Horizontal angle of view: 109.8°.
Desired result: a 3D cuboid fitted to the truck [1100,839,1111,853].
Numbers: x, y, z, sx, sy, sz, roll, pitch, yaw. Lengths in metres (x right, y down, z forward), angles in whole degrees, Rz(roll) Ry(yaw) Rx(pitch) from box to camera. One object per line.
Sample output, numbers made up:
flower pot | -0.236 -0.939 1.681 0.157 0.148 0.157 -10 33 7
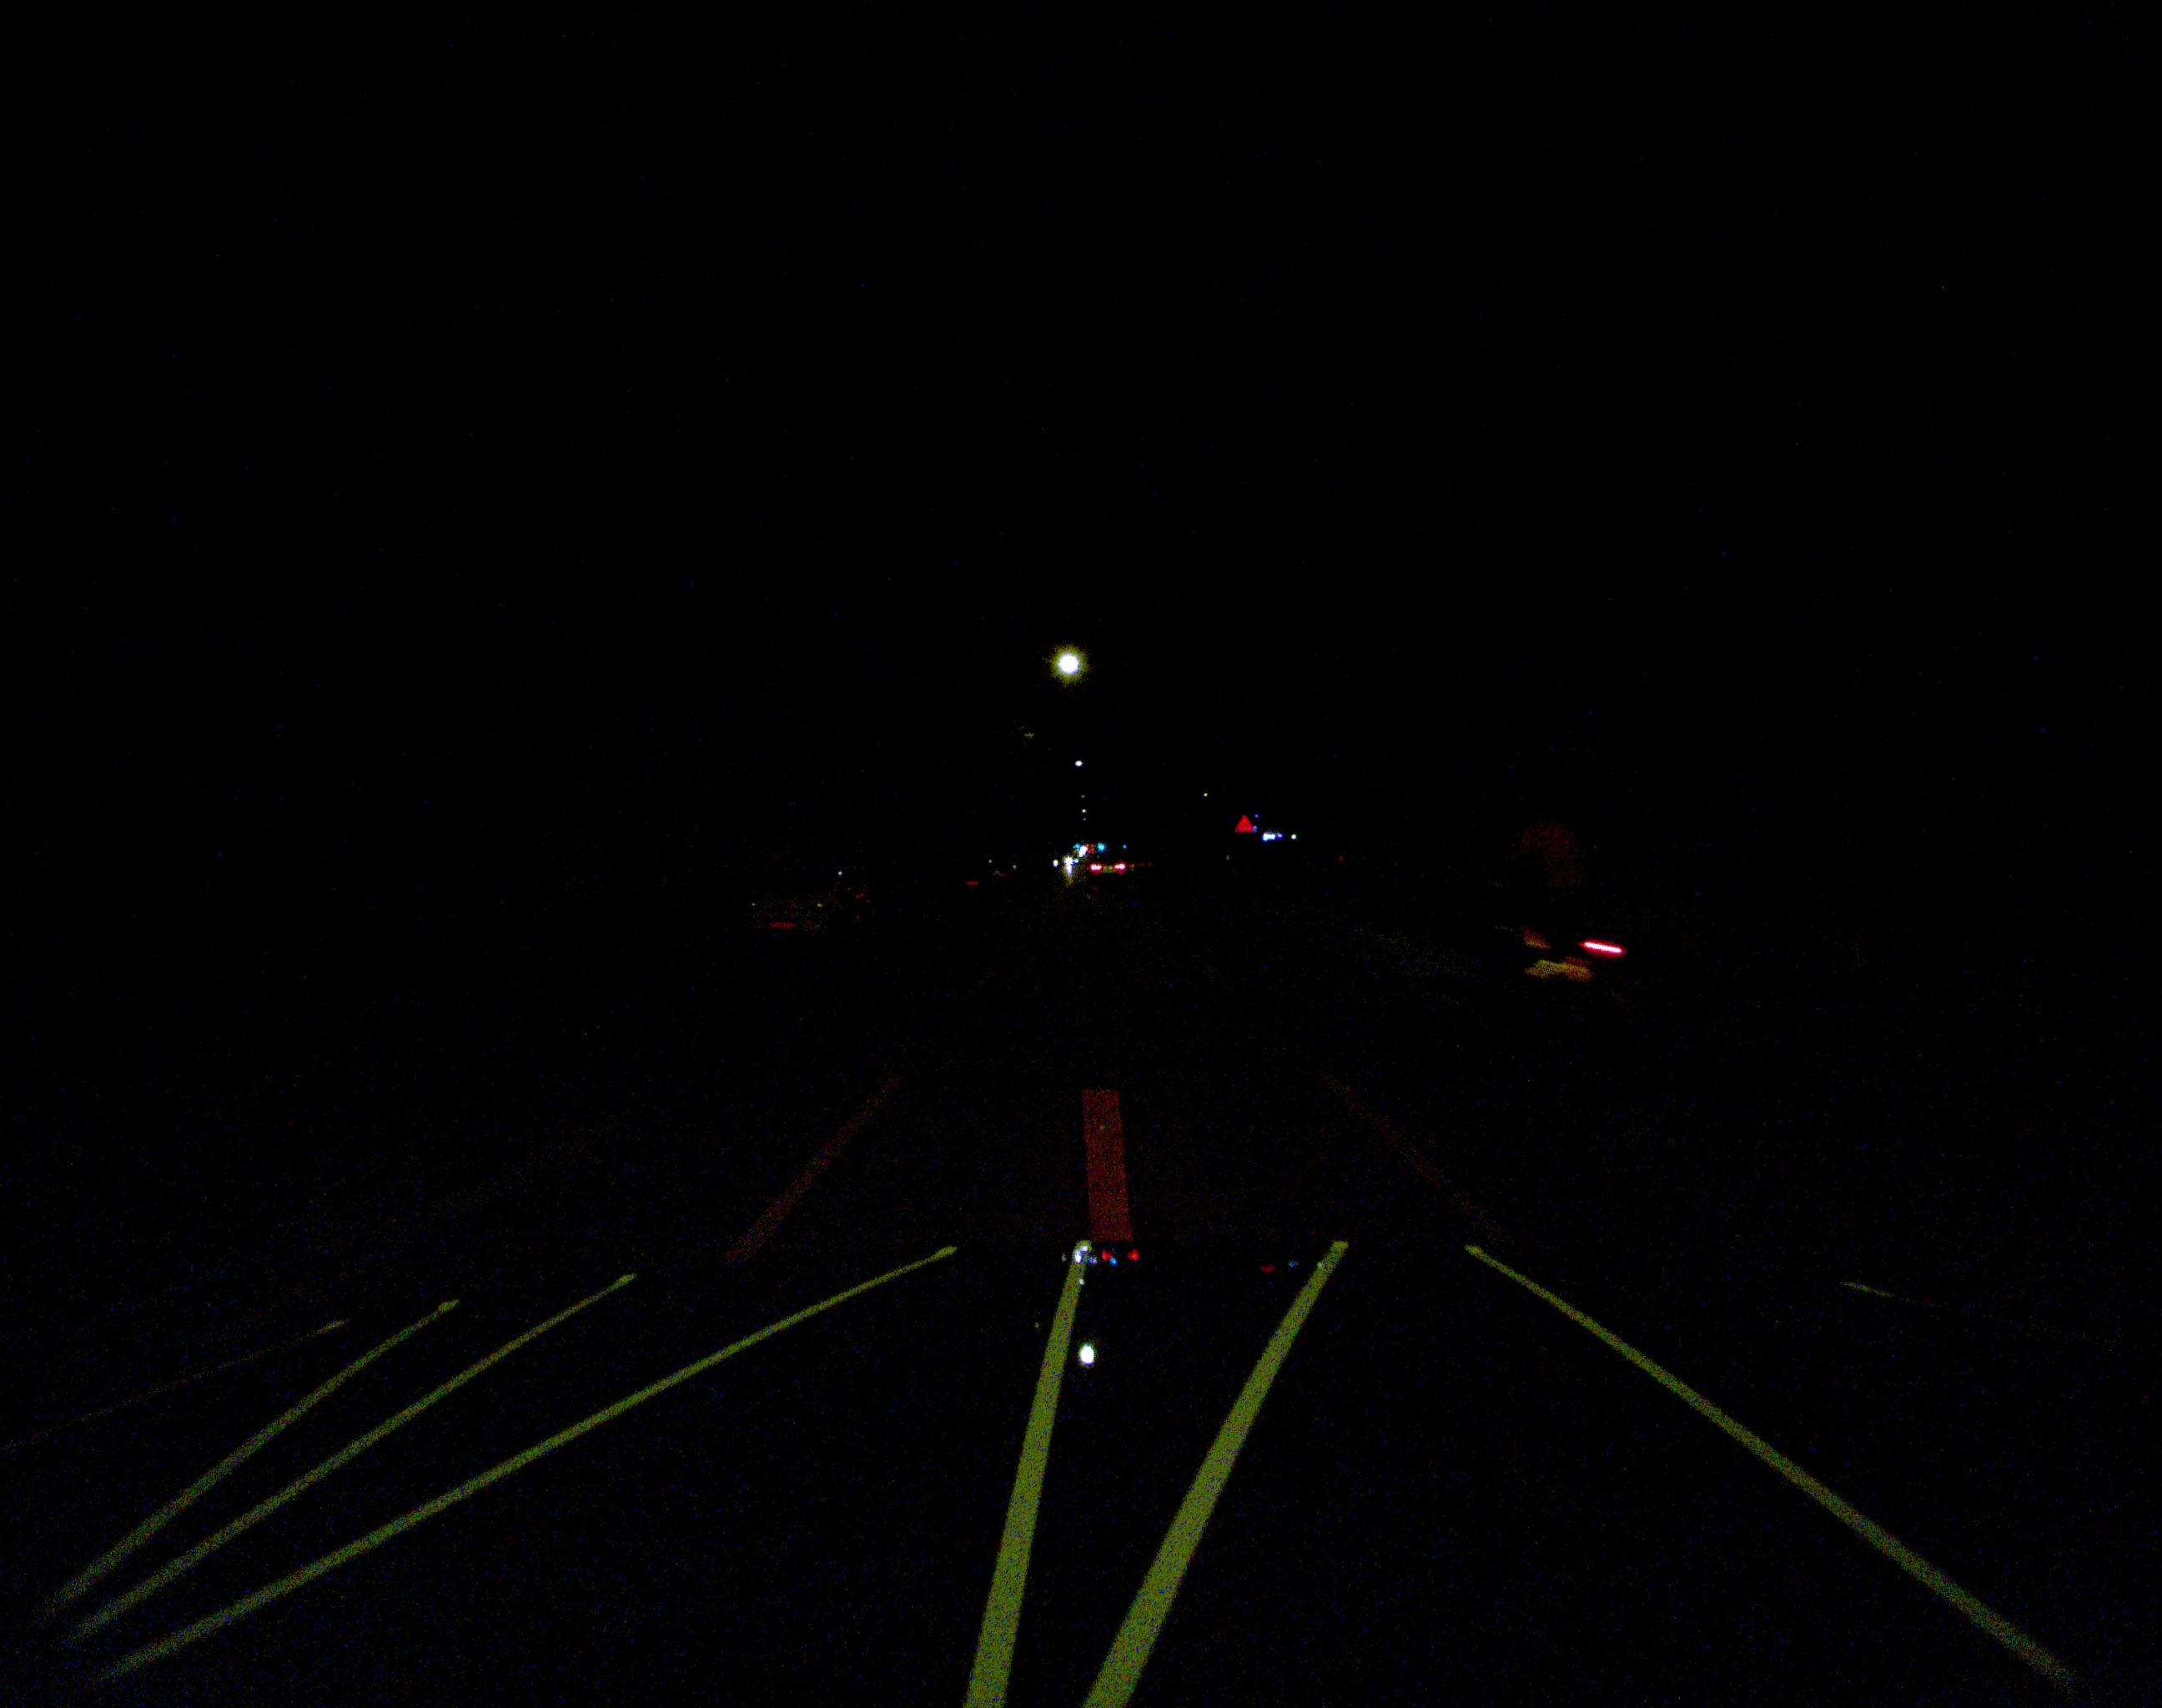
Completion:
truck | 4.974 -1.624 155.509 2.084 2.562 6.873 -2 0 1

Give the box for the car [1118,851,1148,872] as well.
car | 3.897 0.562 57.845 1.864 1.458 3.896 -4 0 -1

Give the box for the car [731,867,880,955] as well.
car | -5.332 1.032 15.203 1.672 1.476 3.603 0 0 0

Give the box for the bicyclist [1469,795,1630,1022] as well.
bicyclist | 3.629 0.389 5.961 0.692 1.628 0.896 -2 1 1

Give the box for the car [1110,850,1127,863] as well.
car | 4.972 0.329 100.870 1.874 1.635 3.999 -2 0 -3

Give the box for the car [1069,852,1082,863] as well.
car | -0.852 0.490 120.710 1.874 1.635 3.999 -2 0 0

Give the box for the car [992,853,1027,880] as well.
car | -4.448 0.772 47.810 1.742 1.588 4.359 0 0 1

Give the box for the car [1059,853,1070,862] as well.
car | -2.976 0.568 134.801 1.874 1.407 3.999 -2 0 0

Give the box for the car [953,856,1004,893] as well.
car | -4.565 0.872 34.289 1.865 1.544 4.044 0 0 -1

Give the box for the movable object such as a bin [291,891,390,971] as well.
movable object such as a bin | -10.553 1.082 10.853 0.609 1.042 0.755 -2 1 1

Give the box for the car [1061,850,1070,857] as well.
car | -3.298 -0.213 162.146 1.874 1.407 3.999 -2 0 0

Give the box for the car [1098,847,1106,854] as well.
car | 5.008 -0.760 180.314 1.873 1.551 4.353 -2 0 1

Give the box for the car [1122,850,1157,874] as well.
car | 3.974 0.518 52.330 1.864 1.524 4.587 -4 0 -1

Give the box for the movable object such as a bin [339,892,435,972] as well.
movable object such as a bin | -9.874 1.088 10.836 0.609 1.042 0.755 -2 1 1

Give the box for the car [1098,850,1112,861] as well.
car | 3.735 0.207 119.496 1.874 1.635 3.999 -2 0 -3

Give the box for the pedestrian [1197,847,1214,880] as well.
pedestrian | 6.533 0.488 39.971 0.670 1.716 0.866 -2 1 -2

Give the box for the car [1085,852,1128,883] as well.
car | 1.324 0.697 40.829 1.862 1.525 4.026 -2 0 -4

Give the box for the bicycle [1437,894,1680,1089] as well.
bicycle | 3.617 0.964 6.004 0.698 1.142 1.950 -2 1 1

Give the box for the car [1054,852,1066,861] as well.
car | -3.575 0.392 129.330 1.874 1.407 3.999 -2 0 0
